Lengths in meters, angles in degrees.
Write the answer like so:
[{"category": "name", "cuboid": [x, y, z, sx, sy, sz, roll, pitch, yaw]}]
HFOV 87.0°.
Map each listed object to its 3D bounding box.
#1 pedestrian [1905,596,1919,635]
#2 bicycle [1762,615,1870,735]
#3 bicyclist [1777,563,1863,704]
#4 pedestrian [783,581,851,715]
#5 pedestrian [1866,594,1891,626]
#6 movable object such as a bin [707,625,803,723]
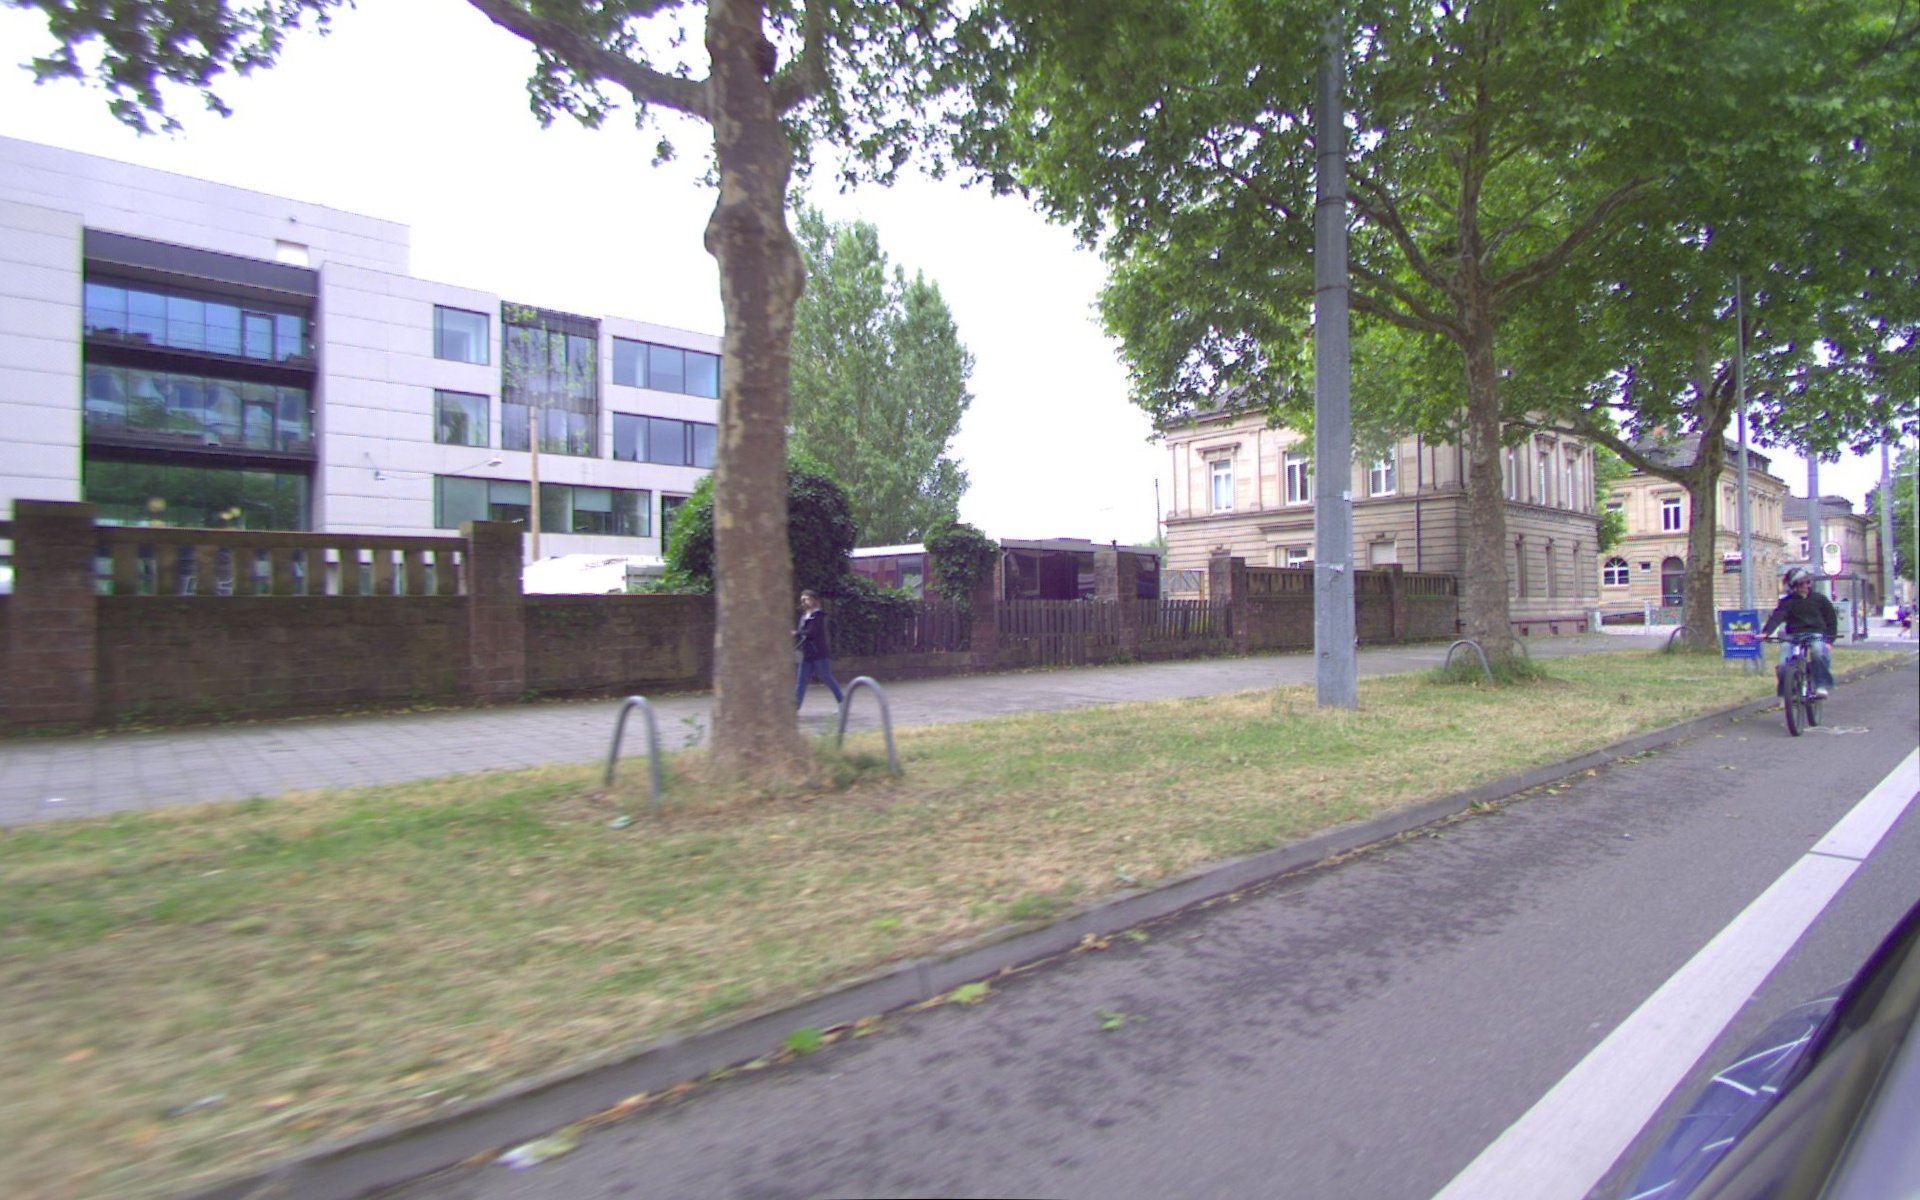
[{"category": "pedestrian", "cuboid": [38.274, 0.618, 40.399, 0.625, 1.548, 0.554, -1, -1, -24]}, {"category": "bicycle", "cuboid": [9.581, 0.778, 11.300, 2.245, 1.164, 0.653, -1, -1, -43]}, {"category": "bicyclist", "cuboid": [9.816, 0.369, 11.551, 0.653, 1.550, 0.641, 0, -1, -43]}, {"category": "pedestrian", "cuboid": [-1.837, 0.594, 12.958, 0.657, 1.653, 0.560, -1, -1, -35]}, {"category": "pedestrian", "cuboid": [49.235, 0.526, 54.258, 0.980, 1.699, 0.721, -1, -1, -32]}, {"category": "movable object such as a bin", "cuboid": [-2.515, 0.885, 12.413, 0.995, 1.126, 0.613, 0, -1, -35]}]
